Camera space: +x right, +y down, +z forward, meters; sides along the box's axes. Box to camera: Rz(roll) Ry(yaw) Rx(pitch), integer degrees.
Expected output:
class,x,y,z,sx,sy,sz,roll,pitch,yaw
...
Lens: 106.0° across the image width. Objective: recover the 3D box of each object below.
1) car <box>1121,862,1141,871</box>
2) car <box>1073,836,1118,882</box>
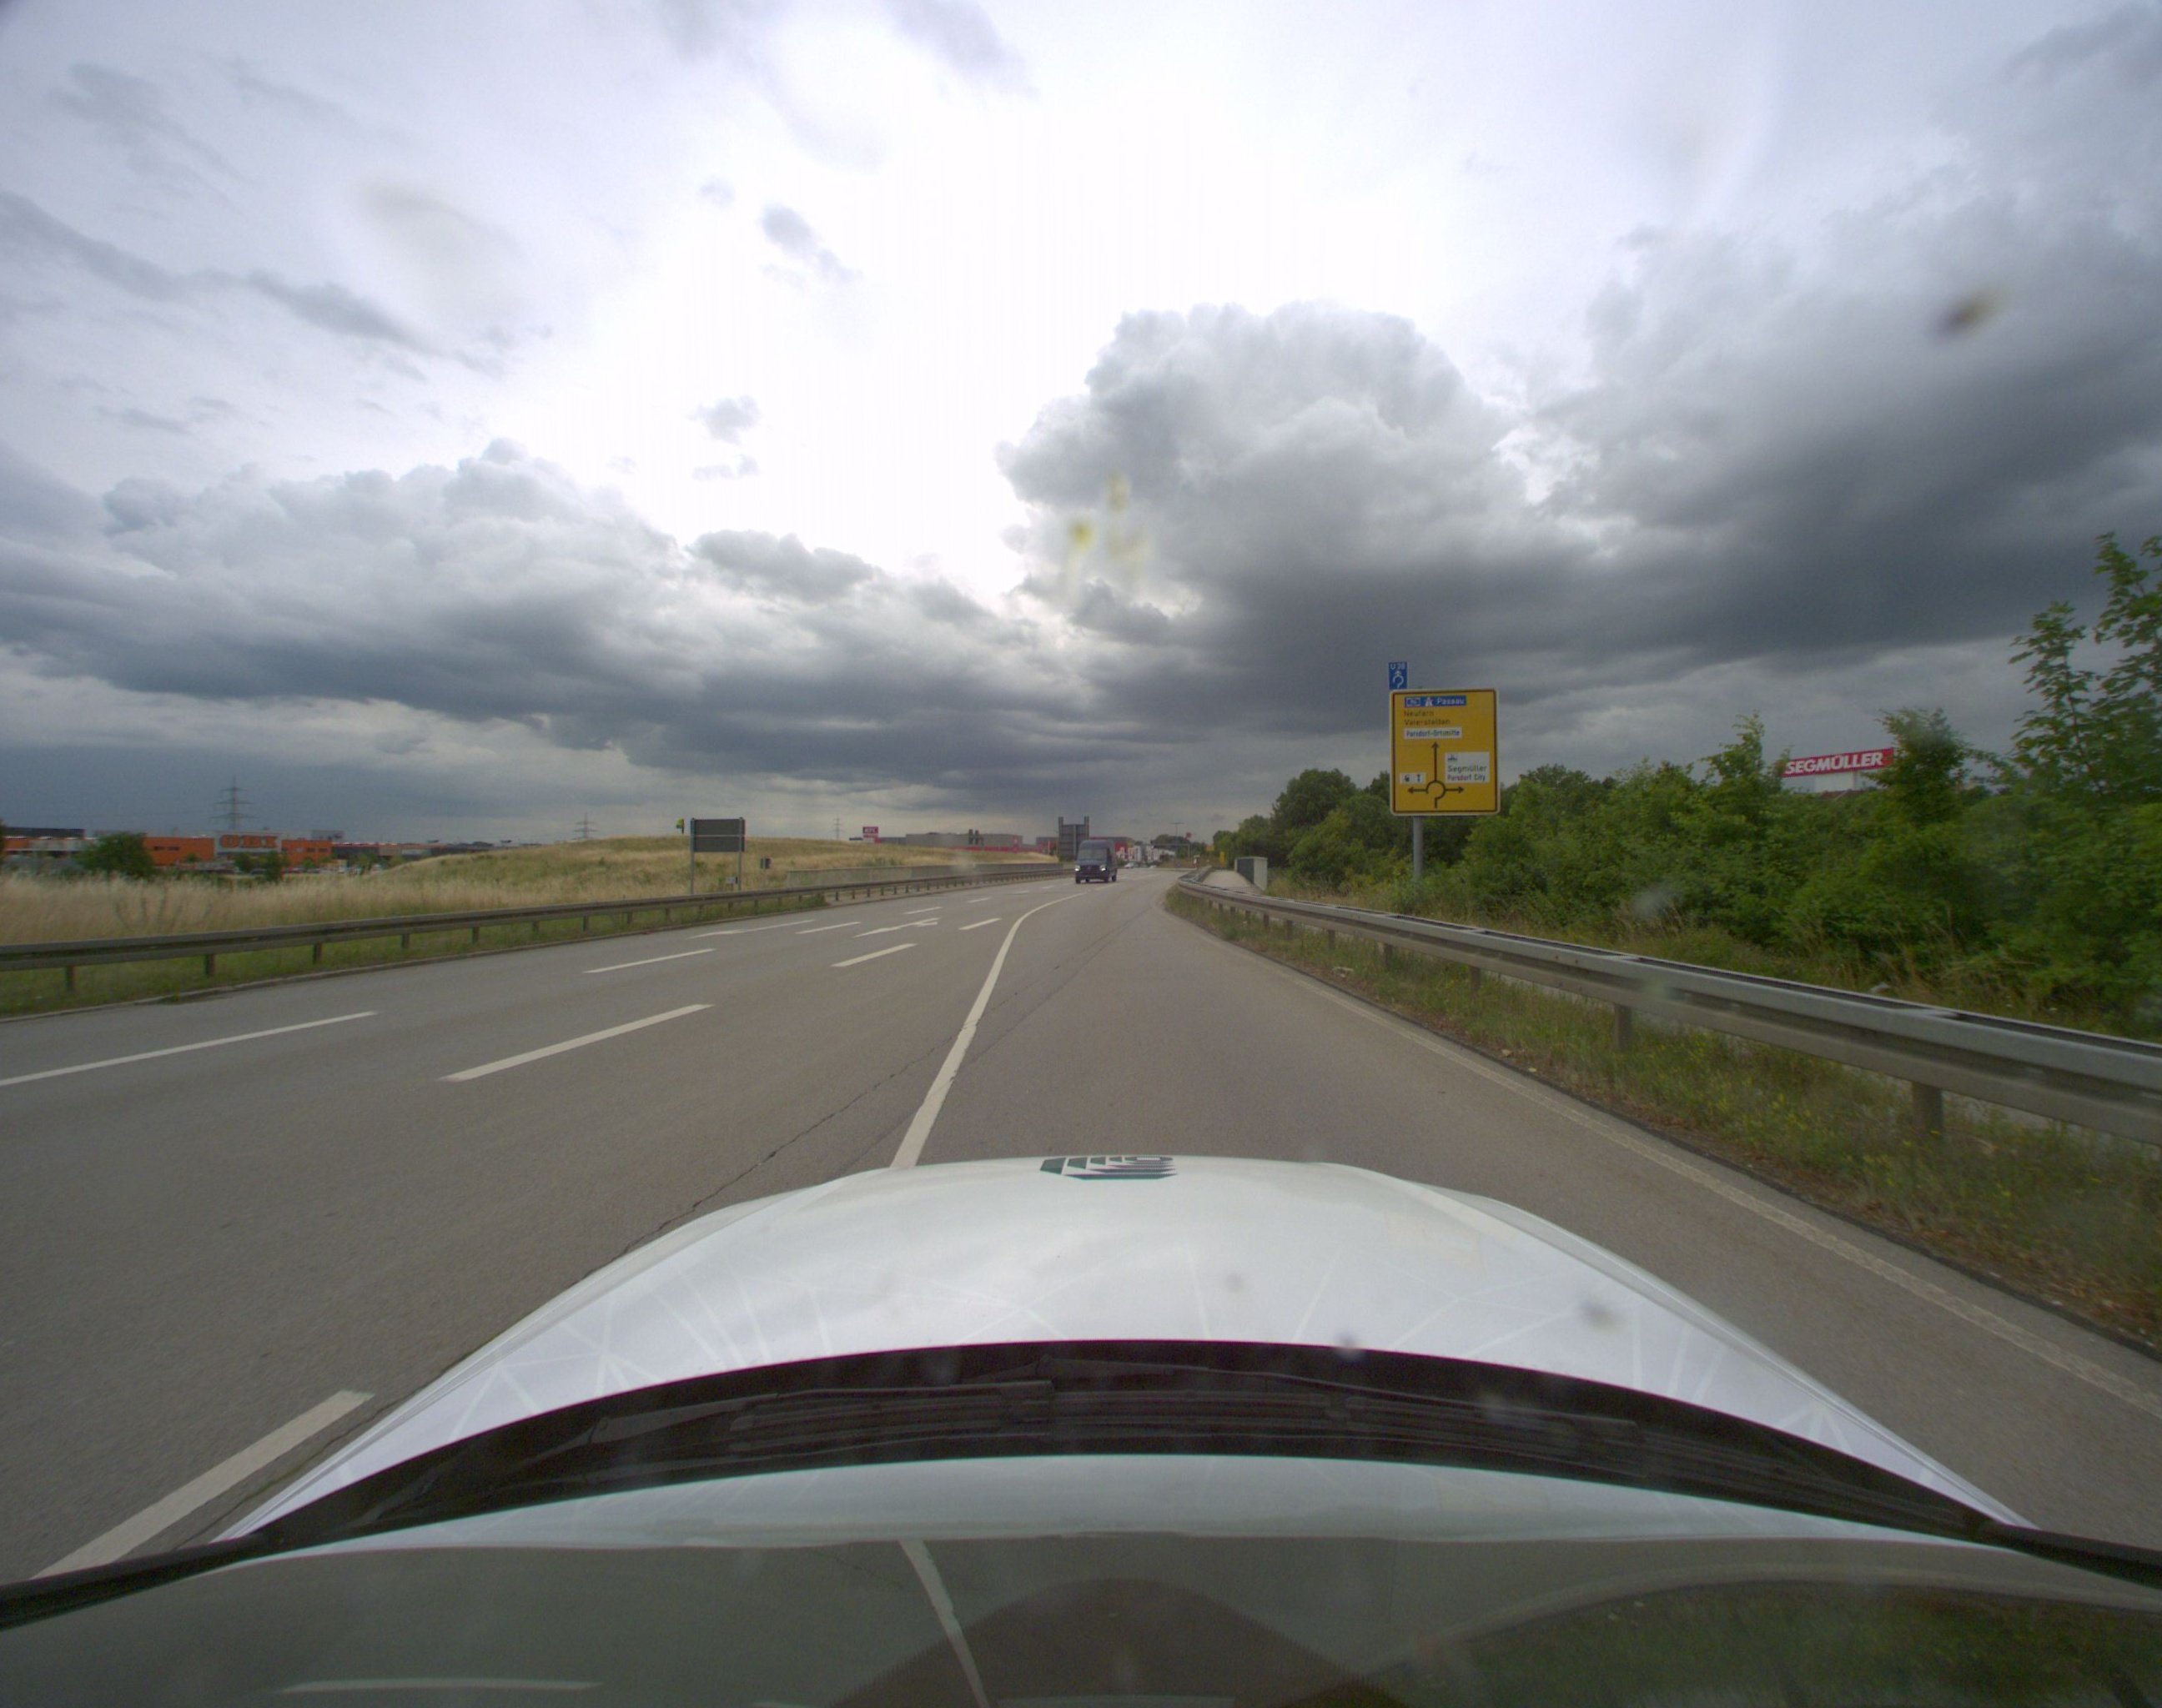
class,x,y,z,sx,sy,sz,roll,pitch,yaw
car,10.850,2.801,176.320,3.948,1.876,2.013,0,0,32
car,0.997,0.307,50.123,1.982,2.592,6.018,-1,0,8
